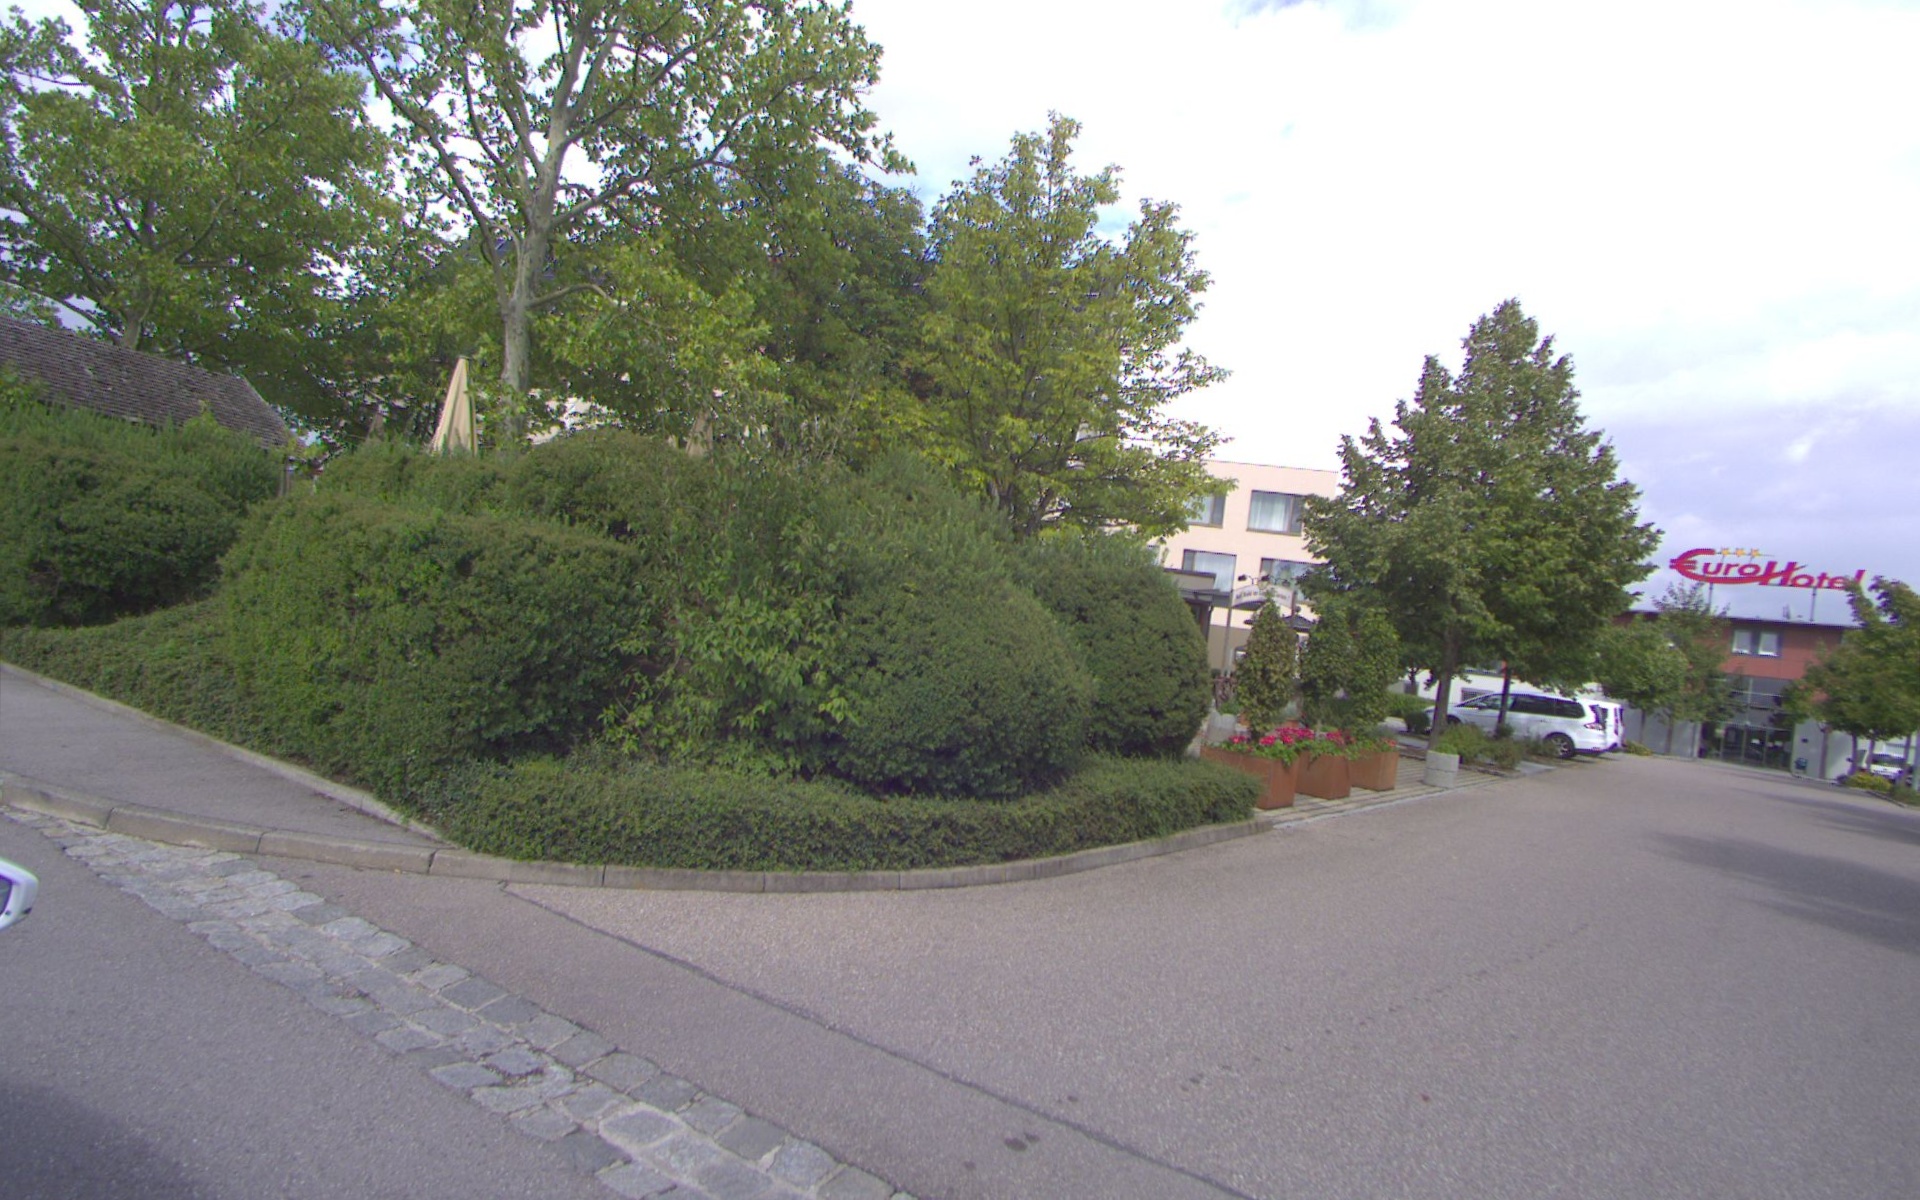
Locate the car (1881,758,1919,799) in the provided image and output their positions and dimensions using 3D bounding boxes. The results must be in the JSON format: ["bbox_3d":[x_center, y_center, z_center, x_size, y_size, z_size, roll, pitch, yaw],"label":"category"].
[{"bbox_3d":[38.849,7.297,40.710,1.648,1.445,3.993,7,-2,34],"label":"car"}]

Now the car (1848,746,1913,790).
[{"bbox_3d":[46.404,8.426,50.784,1.648,1.802,3.993,7,-2,34],"label":"car"}]

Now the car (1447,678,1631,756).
[{"bbox_3d":[19.192,3.845,33.496,5.002,1.731,1.593,7,-2,38],"label":"car"}]

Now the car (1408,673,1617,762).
[{"bbox_3d":[16.019,3.382,29.347,5.002,1.731,1.745,7,-2,38],"label":"car"}]

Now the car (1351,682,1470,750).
[{"bbox_3d":[18.185,4.661,40.630,3.934,2.037,1.997,7,-2,32],"label":"car"}]
